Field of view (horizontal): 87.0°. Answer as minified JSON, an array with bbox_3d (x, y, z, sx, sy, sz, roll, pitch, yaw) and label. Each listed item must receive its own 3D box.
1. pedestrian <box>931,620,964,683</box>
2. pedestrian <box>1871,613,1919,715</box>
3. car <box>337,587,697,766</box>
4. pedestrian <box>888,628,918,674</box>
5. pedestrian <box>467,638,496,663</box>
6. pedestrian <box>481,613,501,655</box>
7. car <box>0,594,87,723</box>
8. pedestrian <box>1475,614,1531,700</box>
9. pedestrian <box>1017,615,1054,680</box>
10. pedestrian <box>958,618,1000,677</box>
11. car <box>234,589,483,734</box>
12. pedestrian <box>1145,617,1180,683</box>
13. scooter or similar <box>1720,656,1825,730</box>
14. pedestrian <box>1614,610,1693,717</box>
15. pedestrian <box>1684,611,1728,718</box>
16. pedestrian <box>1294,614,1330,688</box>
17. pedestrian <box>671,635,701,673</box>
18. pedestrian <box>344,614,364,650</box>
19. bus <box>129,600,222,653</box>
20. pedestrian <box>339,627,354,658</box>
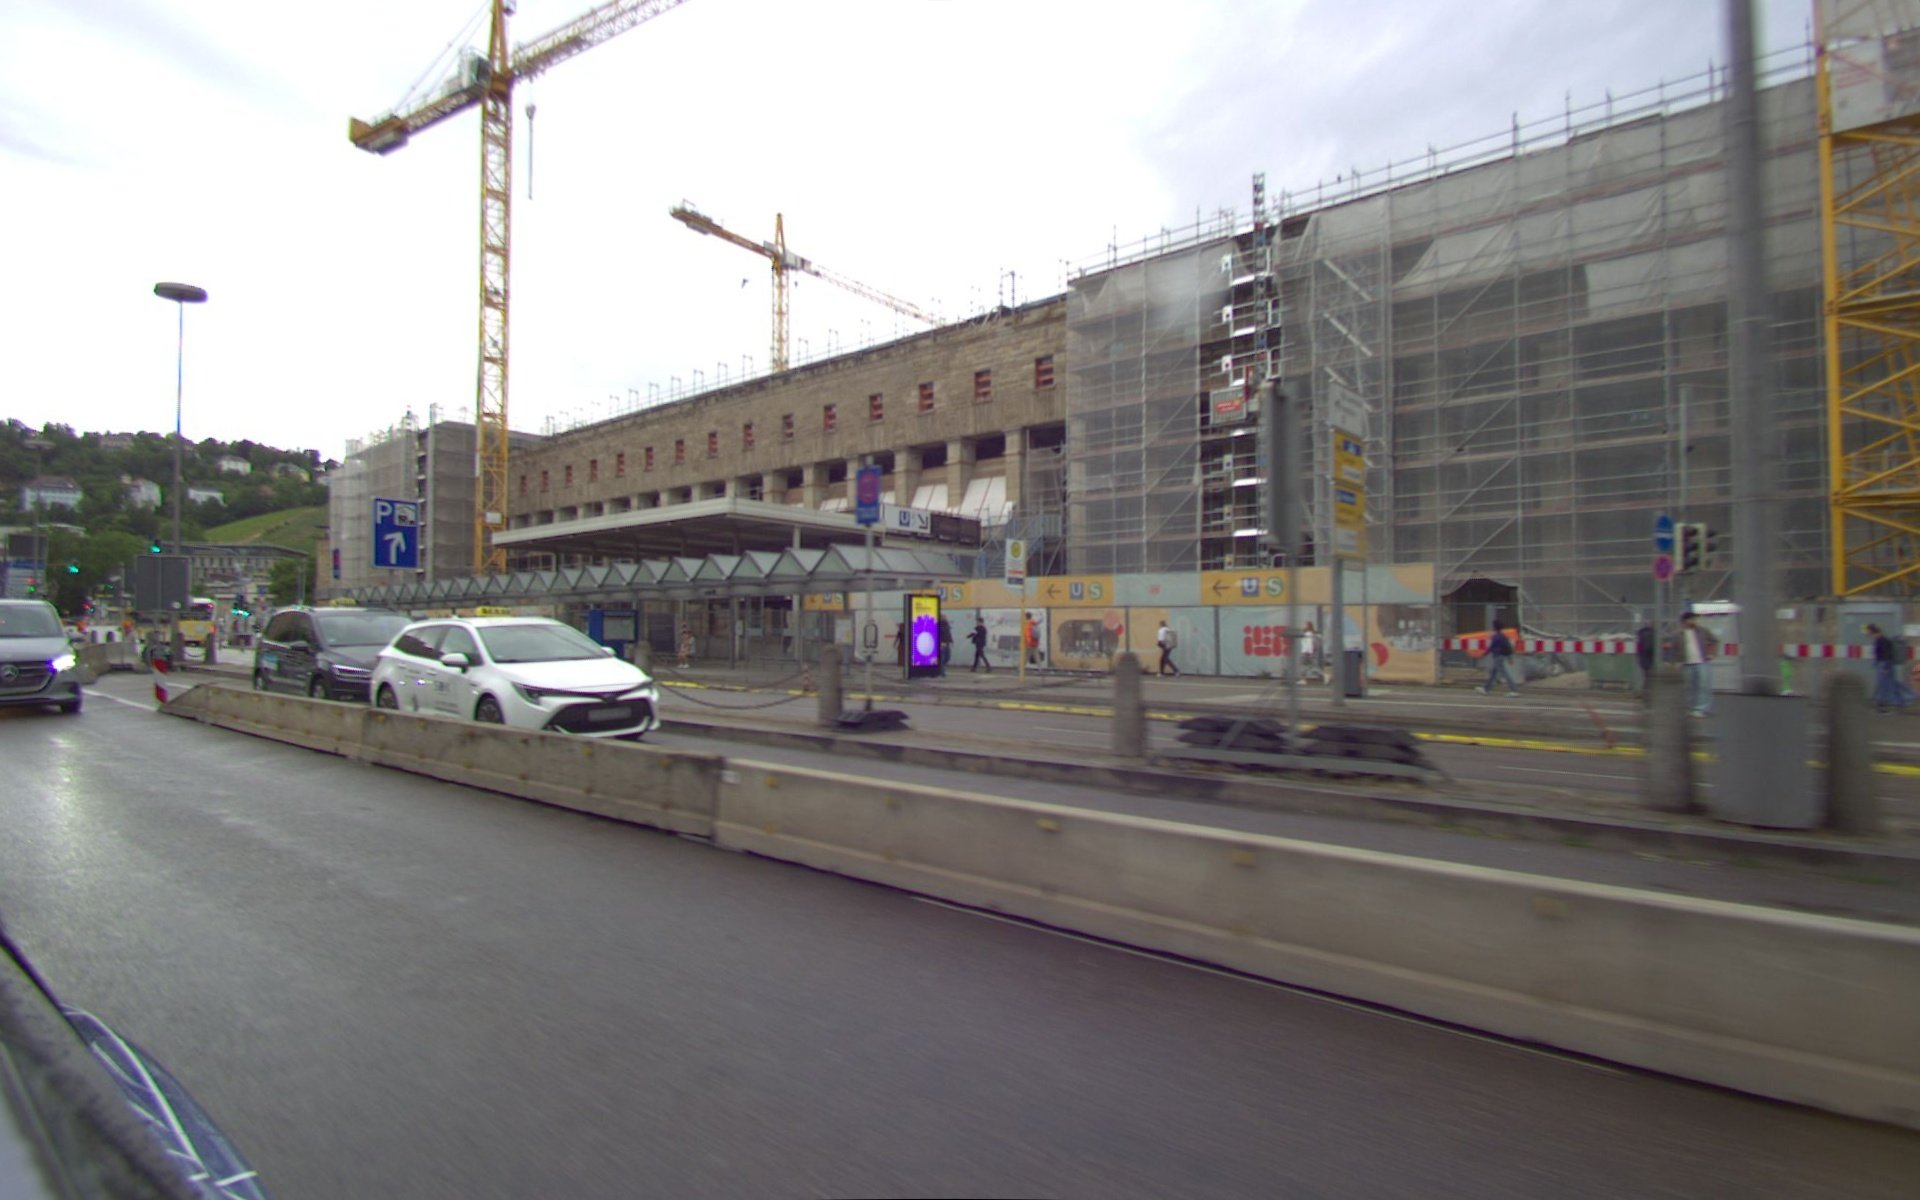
[{"bbox_3d":[-0.367,1.511,29.944,0.734,1.855,0.704,0,-2,-28],"label":"pedestrian"},{"bbox_3d":[17.659,1.178,18.919,0.793,1.855,0.851,1,-2,-45],"label":"pedestrian"},{"bbox_3d":[-5.409,0.807,12.042,4.828,1.719,1.973,-1,-3,40],"label":"car"},{"bbox_3d":[-1.962,1.754,34.868,0.700,1.559,0.795,-2,-2,36],"label":"pedestrian"},{"bbox_3d":[-23.263,2.462,49.162,1.054,1.167,0.939,-2,-2,42],"label":"pedestrian"},{"bbox_3d":[-20.969,1.507,45.247,0.549,1.862,0.678,0,-2,-3],"label":"pedestrian"},{"bbox_3d":[-16.349,0.930,16.827,5.246,1.919,1.973,-2,-1,40],"label":"car"},{"bbox_3d":[12.138,1.253,22.621,0.793,1.855,0.868,1,-2,-45],"label":"pedestrian"},{"bbox_3d":[2.345,1.460,31.428,0.863,1.954,0.735,-2,0,38],"label":"pedestrian"},{"bbox_3d":[0.608,1.536,32.999,1.044,1.855,0.848,-2,0,42],"label":"pedestrian"},{"bbox_3d":[-9.328,0.873,15.520,4.832,1.876,1.972,-2,-3,43],"label":"car"},{"bbox_3d":[5.778,1.417,28.906,0.656,1.855,0.734,-2,-2,45],"label":"pedestrian"},{"bbox_3d":[12.778,1.436,15.957,0.452,1.074,1.243,0,-2,-14],"label":"scooter or similar"},{"bbox_3d":[12.399,1.121,18.105,0.692,1.855,0.880,0,-2,-20],"label":"pedestrian"},{"bbox_3d":[13.122,1.123,17.803,0.334,1.855,0.510,1,-2,-33],"label":"pedestrian"},{"bbox_3d":[9.062,1.304,26.043,0.612,1.855,0.713,-2,-2,45],"label":"pedestrian"},{"bbox_3d":[-9.889,1.928,36.515,0.805,1.336,0.692,-2,-2,40],"label":"pedestrian"},{"bbox_3d":[-34.136,1.793,57.023,0.822,1.974,0.751,-1,-2,39],"label":"pedestrian"},{"bbox_3d":[-60.099,2.039,77.207,19.083,3.605,2.877,-1,-3,44],"label":"bus"},{"bbox_3d":[-36.140,2.477,59.644,0.690,1.804,0.796,1,-2,-36],"label":"pedestrian"}]
